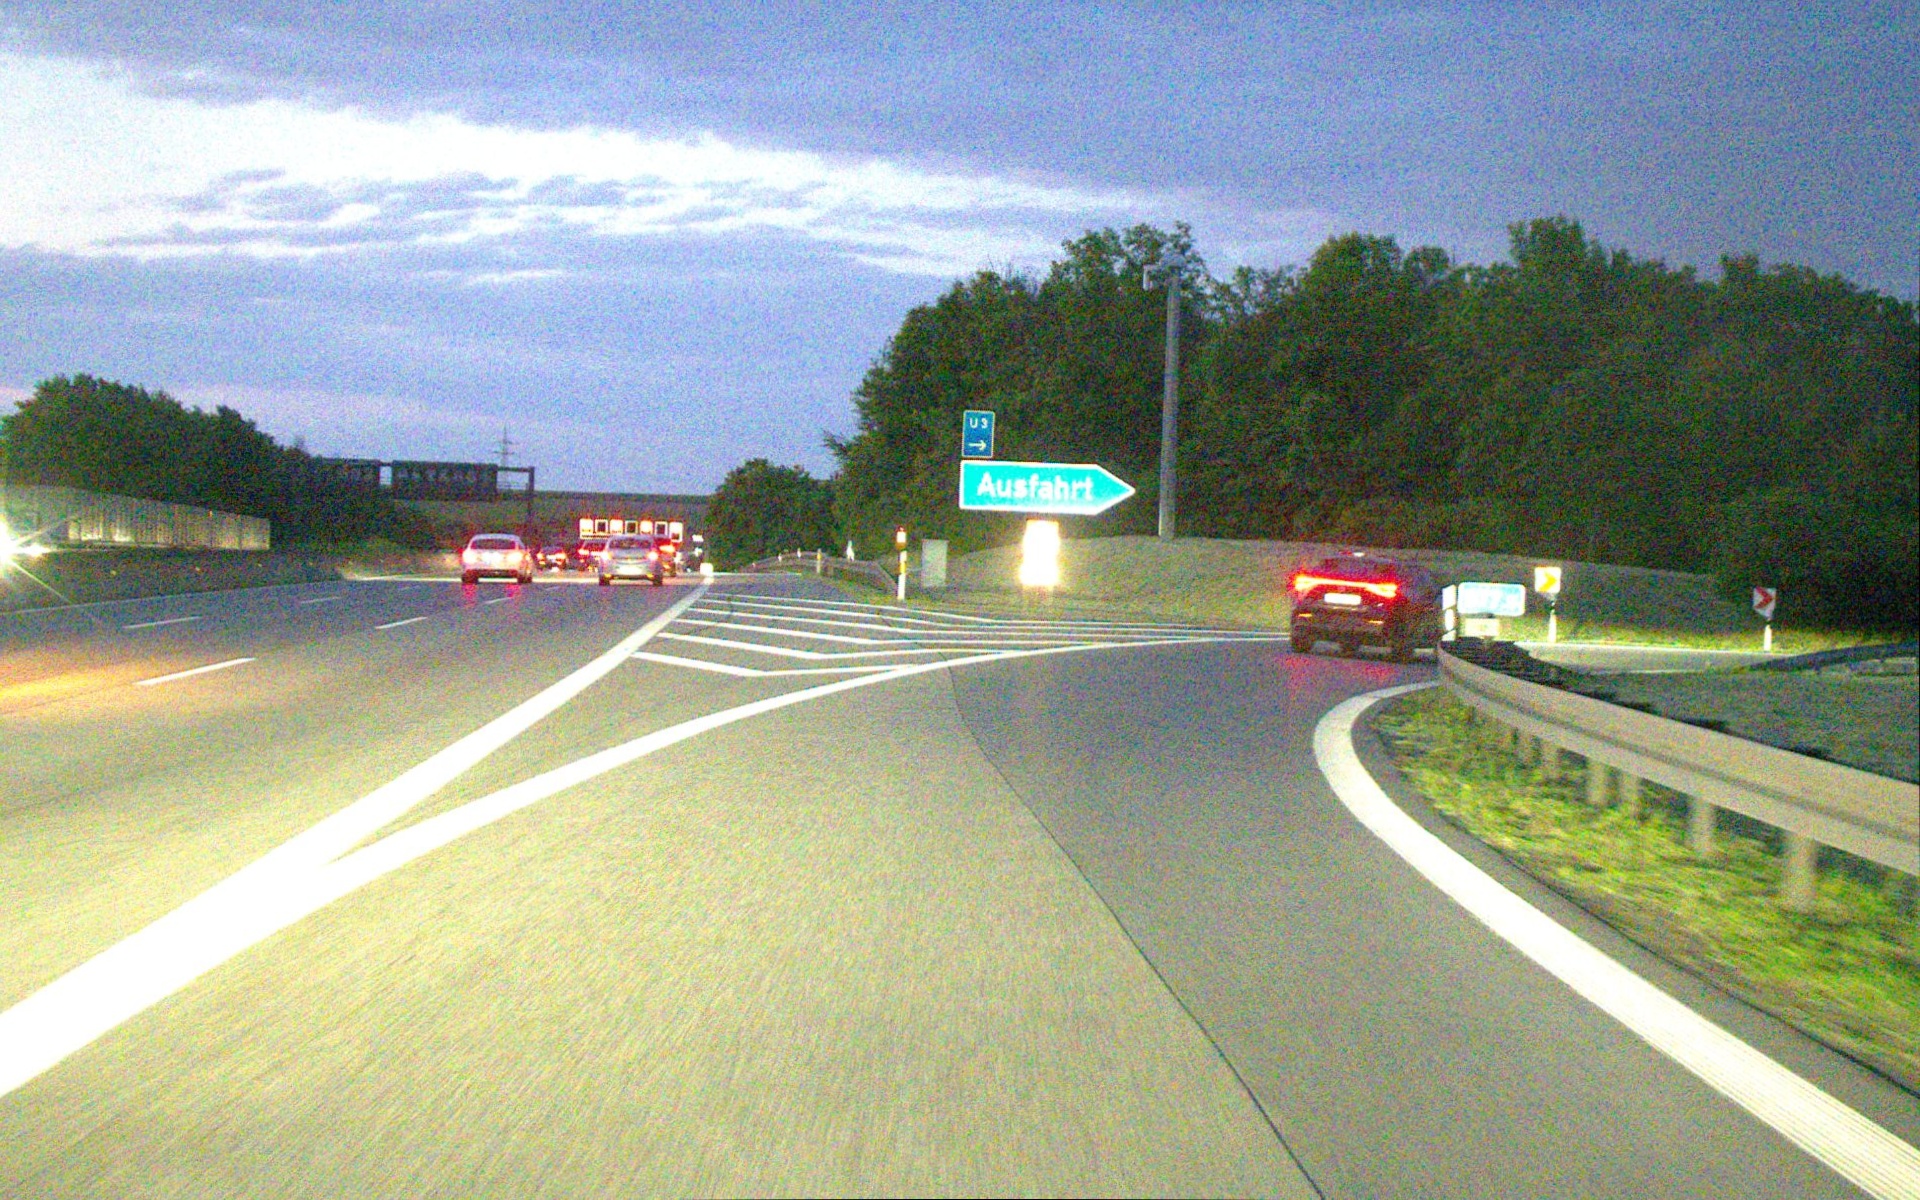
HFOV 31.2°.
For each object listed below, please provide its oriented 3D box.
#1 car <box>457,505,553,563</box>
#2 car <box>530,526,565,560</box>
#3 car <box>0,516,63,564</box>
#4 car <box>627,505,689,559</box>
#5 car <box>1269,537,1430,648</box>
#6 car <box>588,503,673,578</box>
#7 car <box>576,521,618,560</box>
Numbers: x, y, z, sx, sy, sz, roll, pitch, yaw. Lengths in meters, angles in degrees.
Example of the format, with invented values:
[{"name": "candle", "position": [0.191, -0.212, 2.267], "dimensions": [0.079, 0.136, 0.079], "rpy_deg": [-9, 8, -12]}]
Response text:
[{"name": "car", "position": [-13.260, -1.949, 100.354], "dimensions": [1.994, 1.637, 4.554], "rpy_deg": [0, 2, 3]}, {"name": "car", "position": [-25.541, -3.540, 213.193], "dimensions": [2.104, 2.007, 4.001], "rpy_deg": [-1, 2, -6]}, {"name": "car", "position": [-32.990, -2.125, 121.033], "dimensions": [1.993, 1.506, 4.001], "rpy_deg": [4, 1, -5]}, {"name": "car", "position": [-11.386, -2.582, 129.875], "dimensions": [1.993, 2.006, 4.000], "rpy_deg": [0, 2, 0]}, {"name": "car", "position": [6.098, -0.151, 54.265], "dimensions": [1.993, 1.653, 4.315], "rpy_deg": [0, 1, -1]}, {"name": "car", "position": [-9.123, -1.661, 95.431], "dimensions": [1.993, 2.007, 4.000], "rpy_deg": [1, 1, -1]}, {"name": "car", "position": [-19.095, -3.126, 180.789], "dimensions": [2.071, 2.007, 4.001], "rpy_deg": [0, 2, -4]}]
